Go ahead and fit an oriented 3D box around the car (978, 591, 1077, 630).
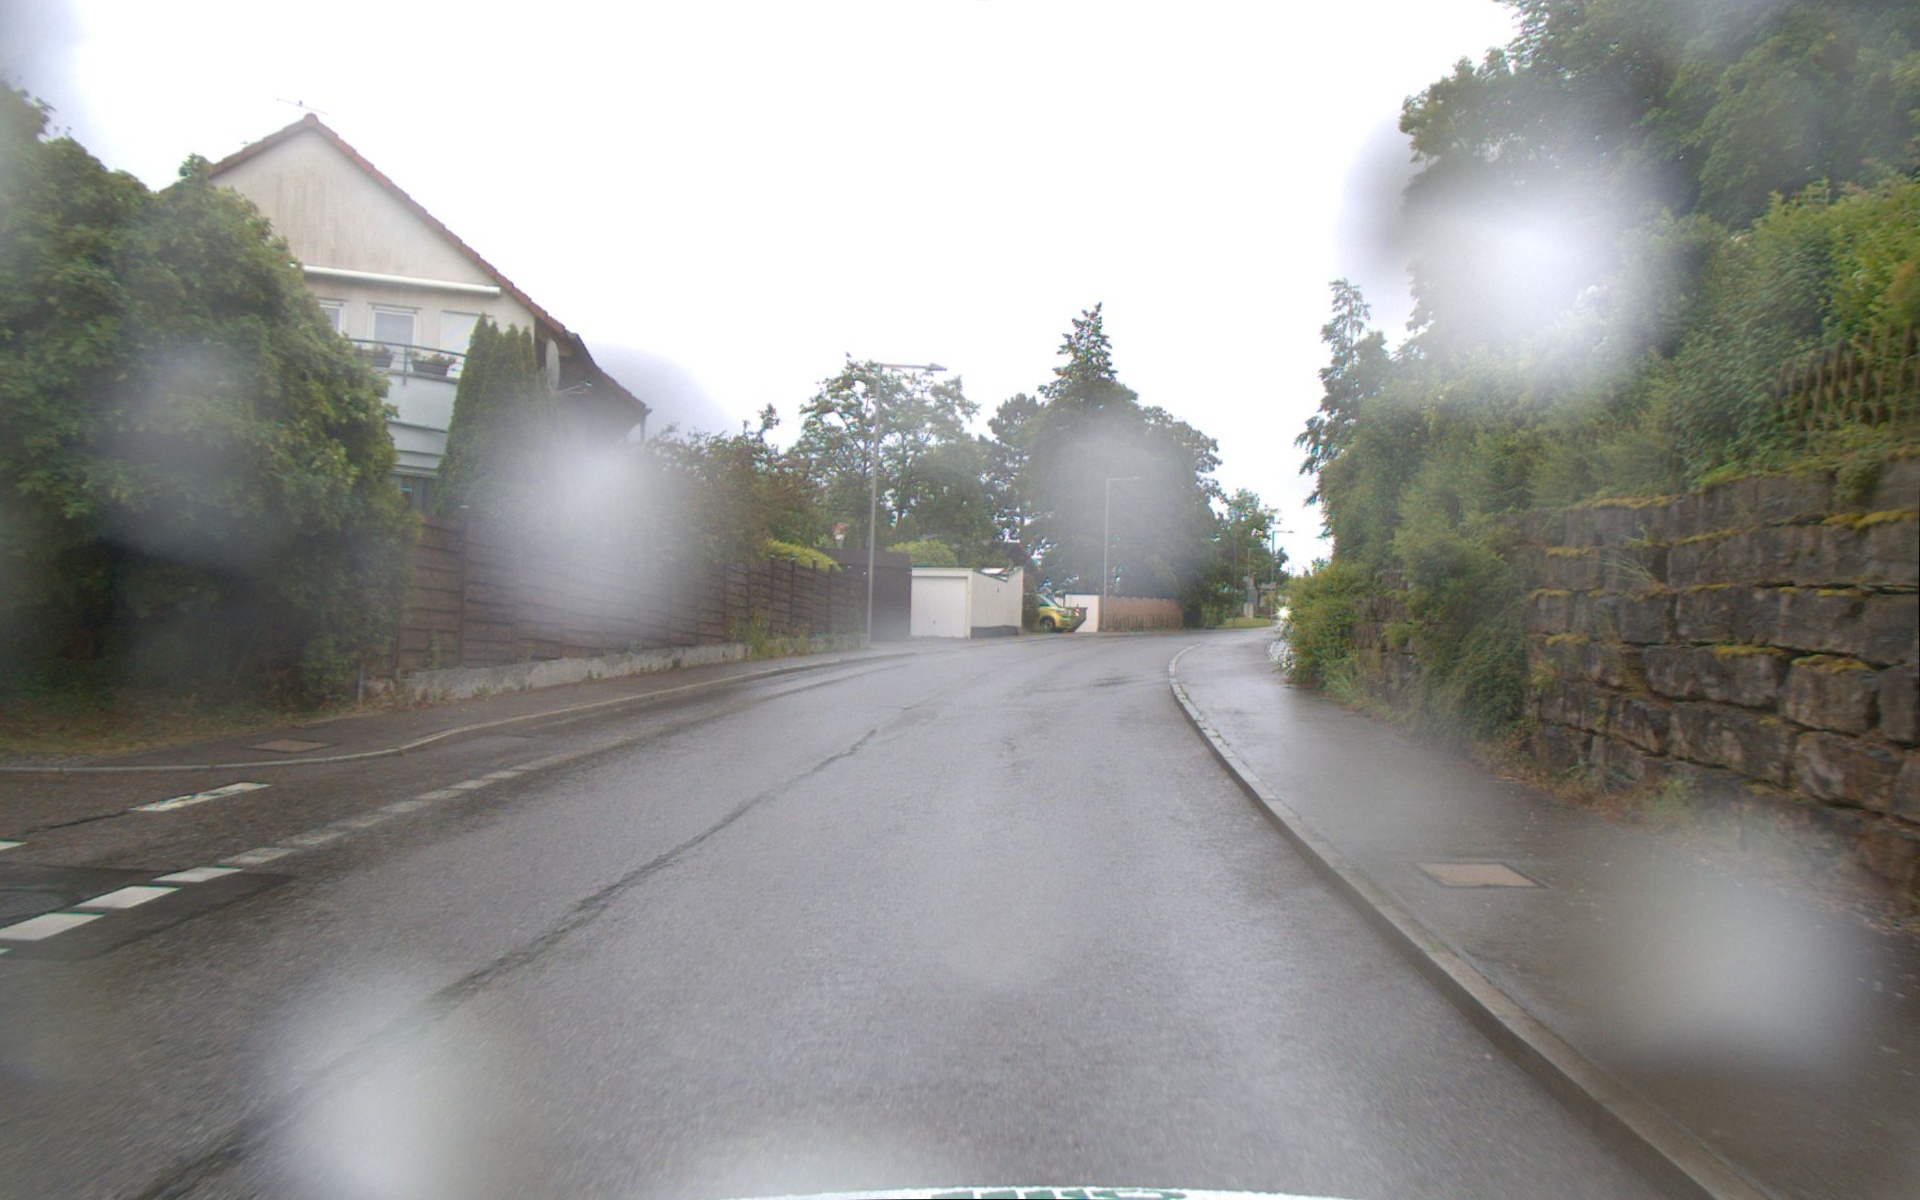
[{"bbox_3d":[3.331,0.523,81.435,4.409,1.892,2.090,0,0,20],"label":"car"}]
